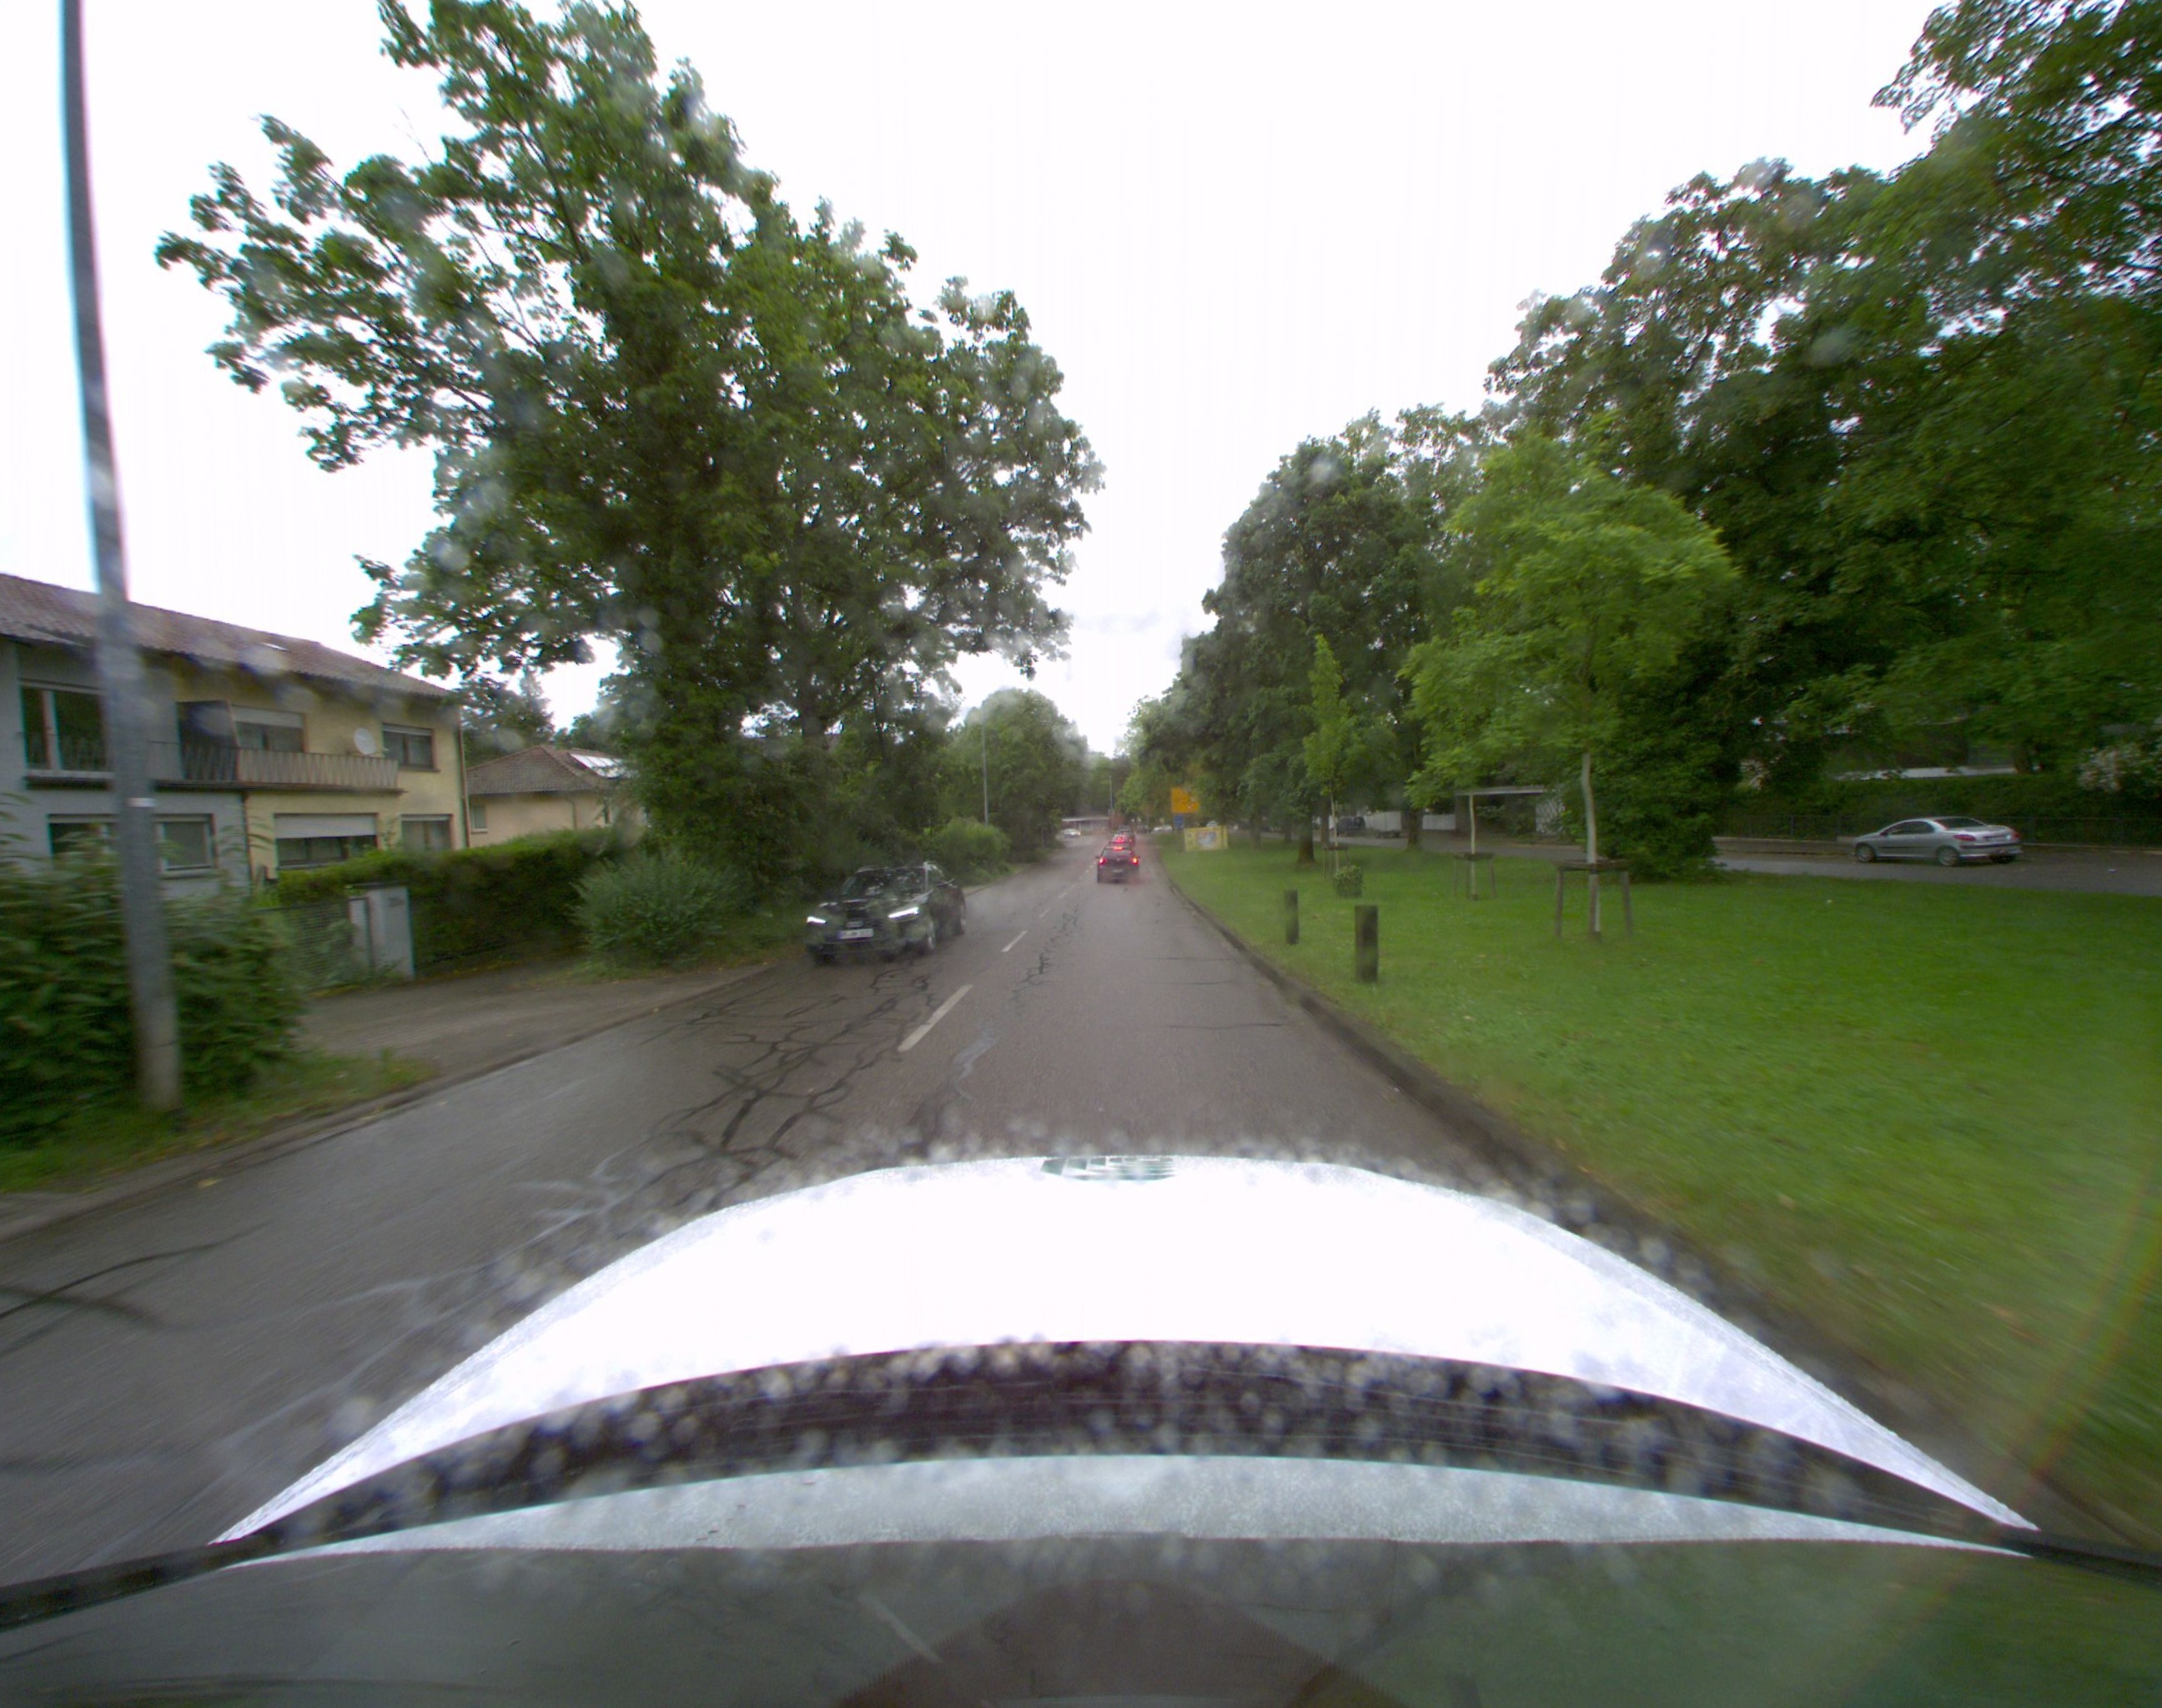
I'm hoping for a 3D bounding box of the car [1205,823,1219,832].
[{"bbox_3d":[21.582,-4.369,134.319,1.796,1.405,4.005,-4,2,3],"label":"car"}]

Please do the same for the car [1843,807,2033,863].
[{"bbox_3d":[25.191,-0.557,24.140,1.675,1.375,3.710,-5,1,1],"label":"car"}]

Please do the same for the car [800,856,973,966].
[{"bbox_3d":[-3.108,0.838,13.971,1.748,1.363,4.327,-4,1,1],"label":"car"}]

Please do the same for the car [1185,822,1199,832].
[{"bbox_3d":[18.295,-4.438,134.377,1.796,1.385,4.005,-4,2,3],"label":"car"}]

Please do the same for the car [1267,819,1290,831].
[{"bbox_3d":[24.692,-3.656,101.929,1.612,1.409,4.008,-4,3,-2],"label":"car"}]

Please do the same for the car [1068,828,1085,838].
[{"bbox_3d":[-0.864,-3.809,149.290,1.770,1.614,4.114,-4,2,-20],"label":"car"}]

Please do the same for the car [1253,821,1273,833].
[{"bbox_3d":[24.512,-3.652,109.845,1.795,1.529,4.114,-4,3,1],"label":"car"}]

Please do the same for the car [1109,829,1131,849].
[{"bbox_3d":[3.646,-1.411,75.997,1.847,1.784,4.005,-3,2,4],"label":"car"}]

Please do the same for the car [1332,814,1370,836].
[{"bbox_3d":[24.867,-2.744,75.204,1.935,1.808,4.650,-4,3,1],"label":"car"}]

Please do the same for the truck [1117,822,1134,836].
[{"bbox_3d":[6.662,-3.781,122.698,2.407,2.004,5.154,-3,2,2],"label":"truck"}]

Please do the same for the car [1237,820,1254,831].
[{"bbox_3d":[24.493,-4.303,121.423,1.795,1.411,4.114,-4,3,1],"label":"car"}]

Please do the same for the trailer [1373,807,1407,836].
[{"bbox_3d":[24.842,-2.618,65.552,1.432,2.154,2.949,-4,2,-2],"label":"trailer"}]

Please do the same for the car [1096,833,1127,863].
[{"bbox_3d":[2.014,-0.414,52.806,1.847,1.784,4.005,-3,2,4],"label":"car"}]

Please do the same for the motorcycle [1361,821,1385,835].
[{"bbox_3d":[24.456,-2.146,68.190,1.868,1.092,0.662,-2,3,23],"label":"motorcycle"}]

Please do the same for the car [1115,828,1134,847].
[{"bbox_3d":[4.456,-1.693,82.896,1.847,1.784,4.005,-3,2,4],"label":"car"}]

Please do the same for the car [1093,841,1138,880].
[{"bbox_3d":[1.512,0.225,34.398,1.791,1.515,3.758,0,2,4],"label":"car"}]
